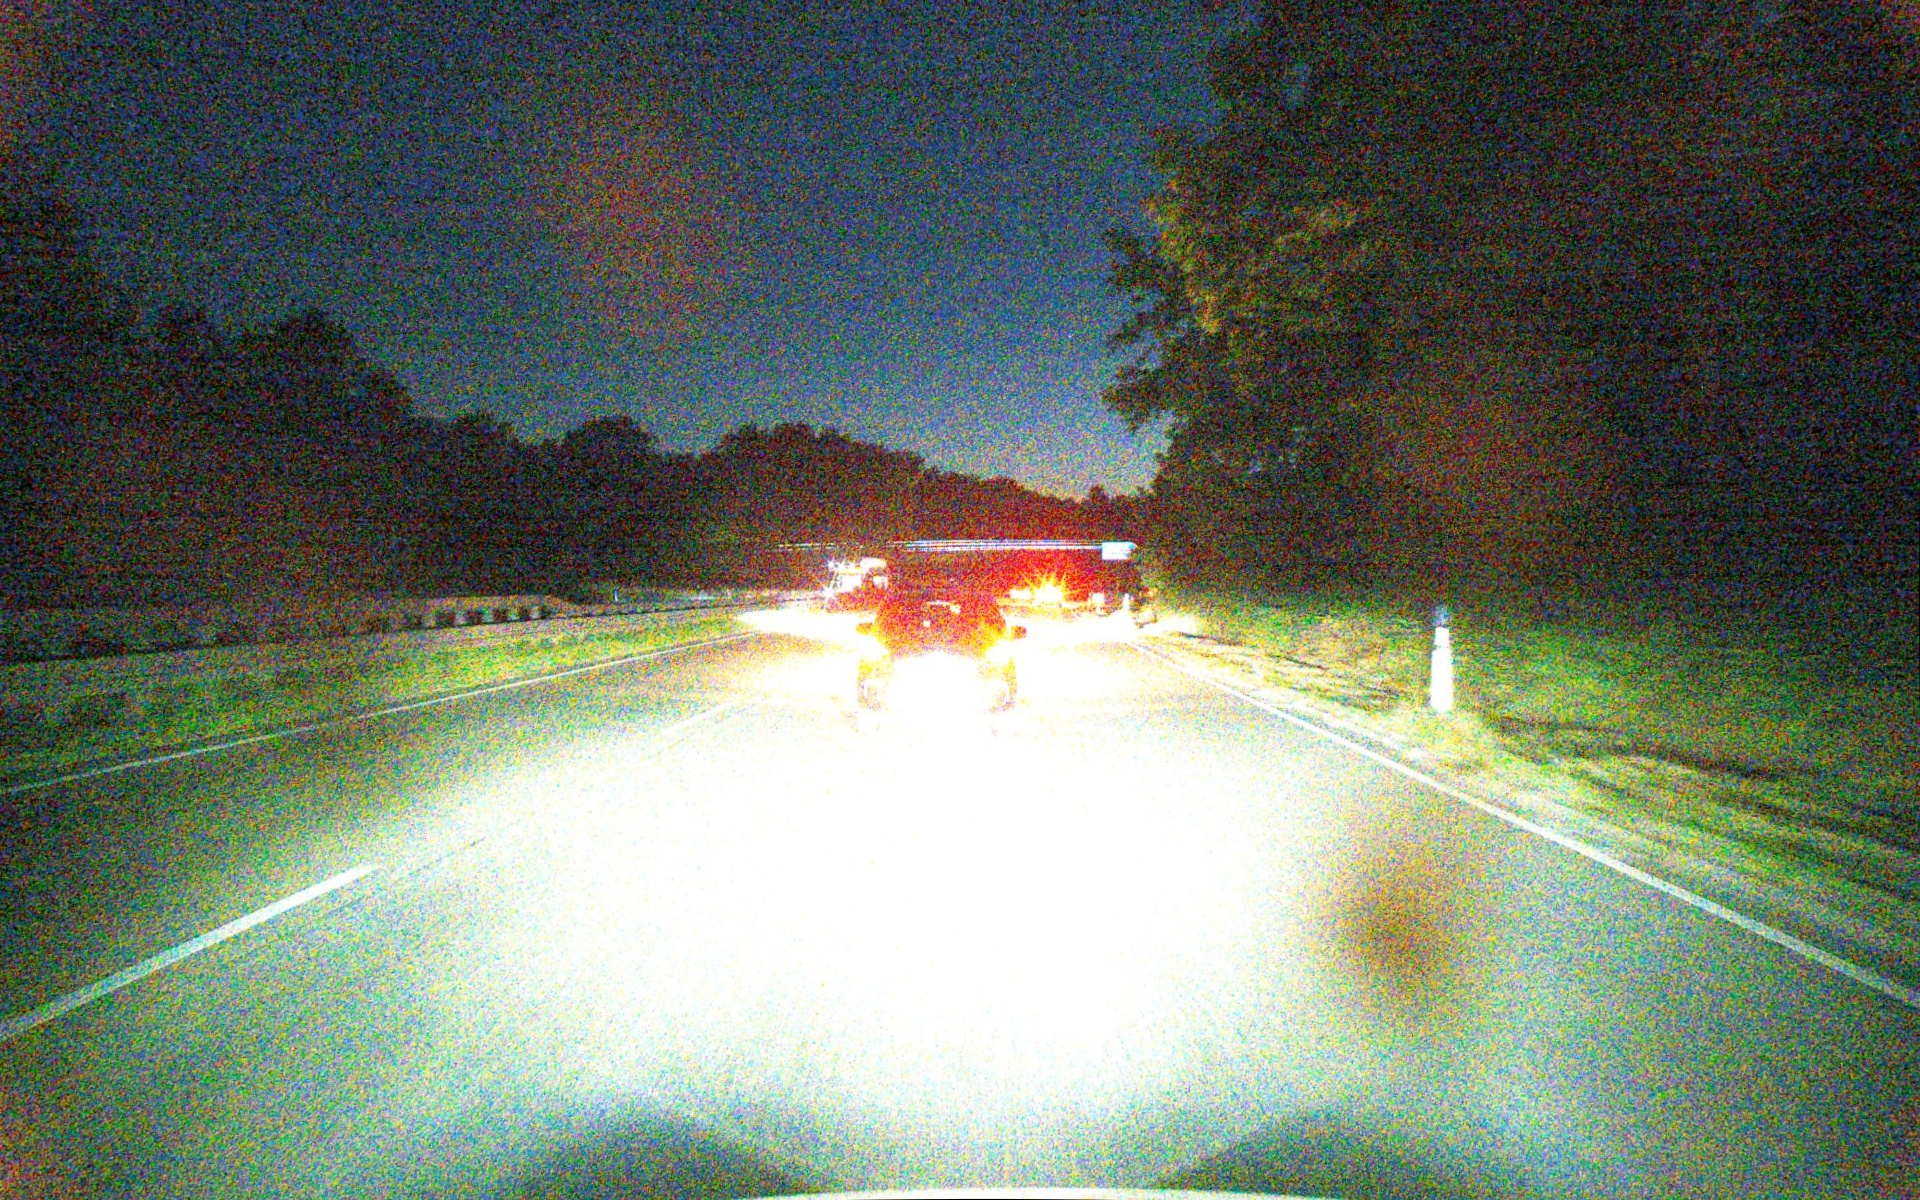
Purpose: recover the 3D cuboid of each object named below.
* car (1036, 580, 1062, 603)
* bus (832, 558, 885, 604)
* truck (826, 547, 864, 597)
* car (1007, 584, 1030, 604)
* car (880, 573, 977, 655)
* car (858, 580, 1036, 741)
[{"bbox_3d":[6.425,-0.614,119.504,1.698,1.646,3.798,1,0,0],"label":"car"},{"bbox_3d":[-7.814,-1.528,129.303,2.862,3.446,12.312,1,1,2],"label":"bus"},{"bbox_3d":[-10.098,-2.432,145.305,2.620,4.250,5.871,1,1,3],"label":"truck"},{"bbox_3d":[5.163,-0.494,147.007,1.911,1.565,4.242,-4,-1,2],"label":"car"},{"bbox_3d":[-0.619,0.253,35.966,1.900,1.636,4.644,1,1,1],"label":"car"},{"bbox_3d":[-0.221,0.559,17.695,1.657,1.503,3.998,1,0,-3],"label":"car"}]
